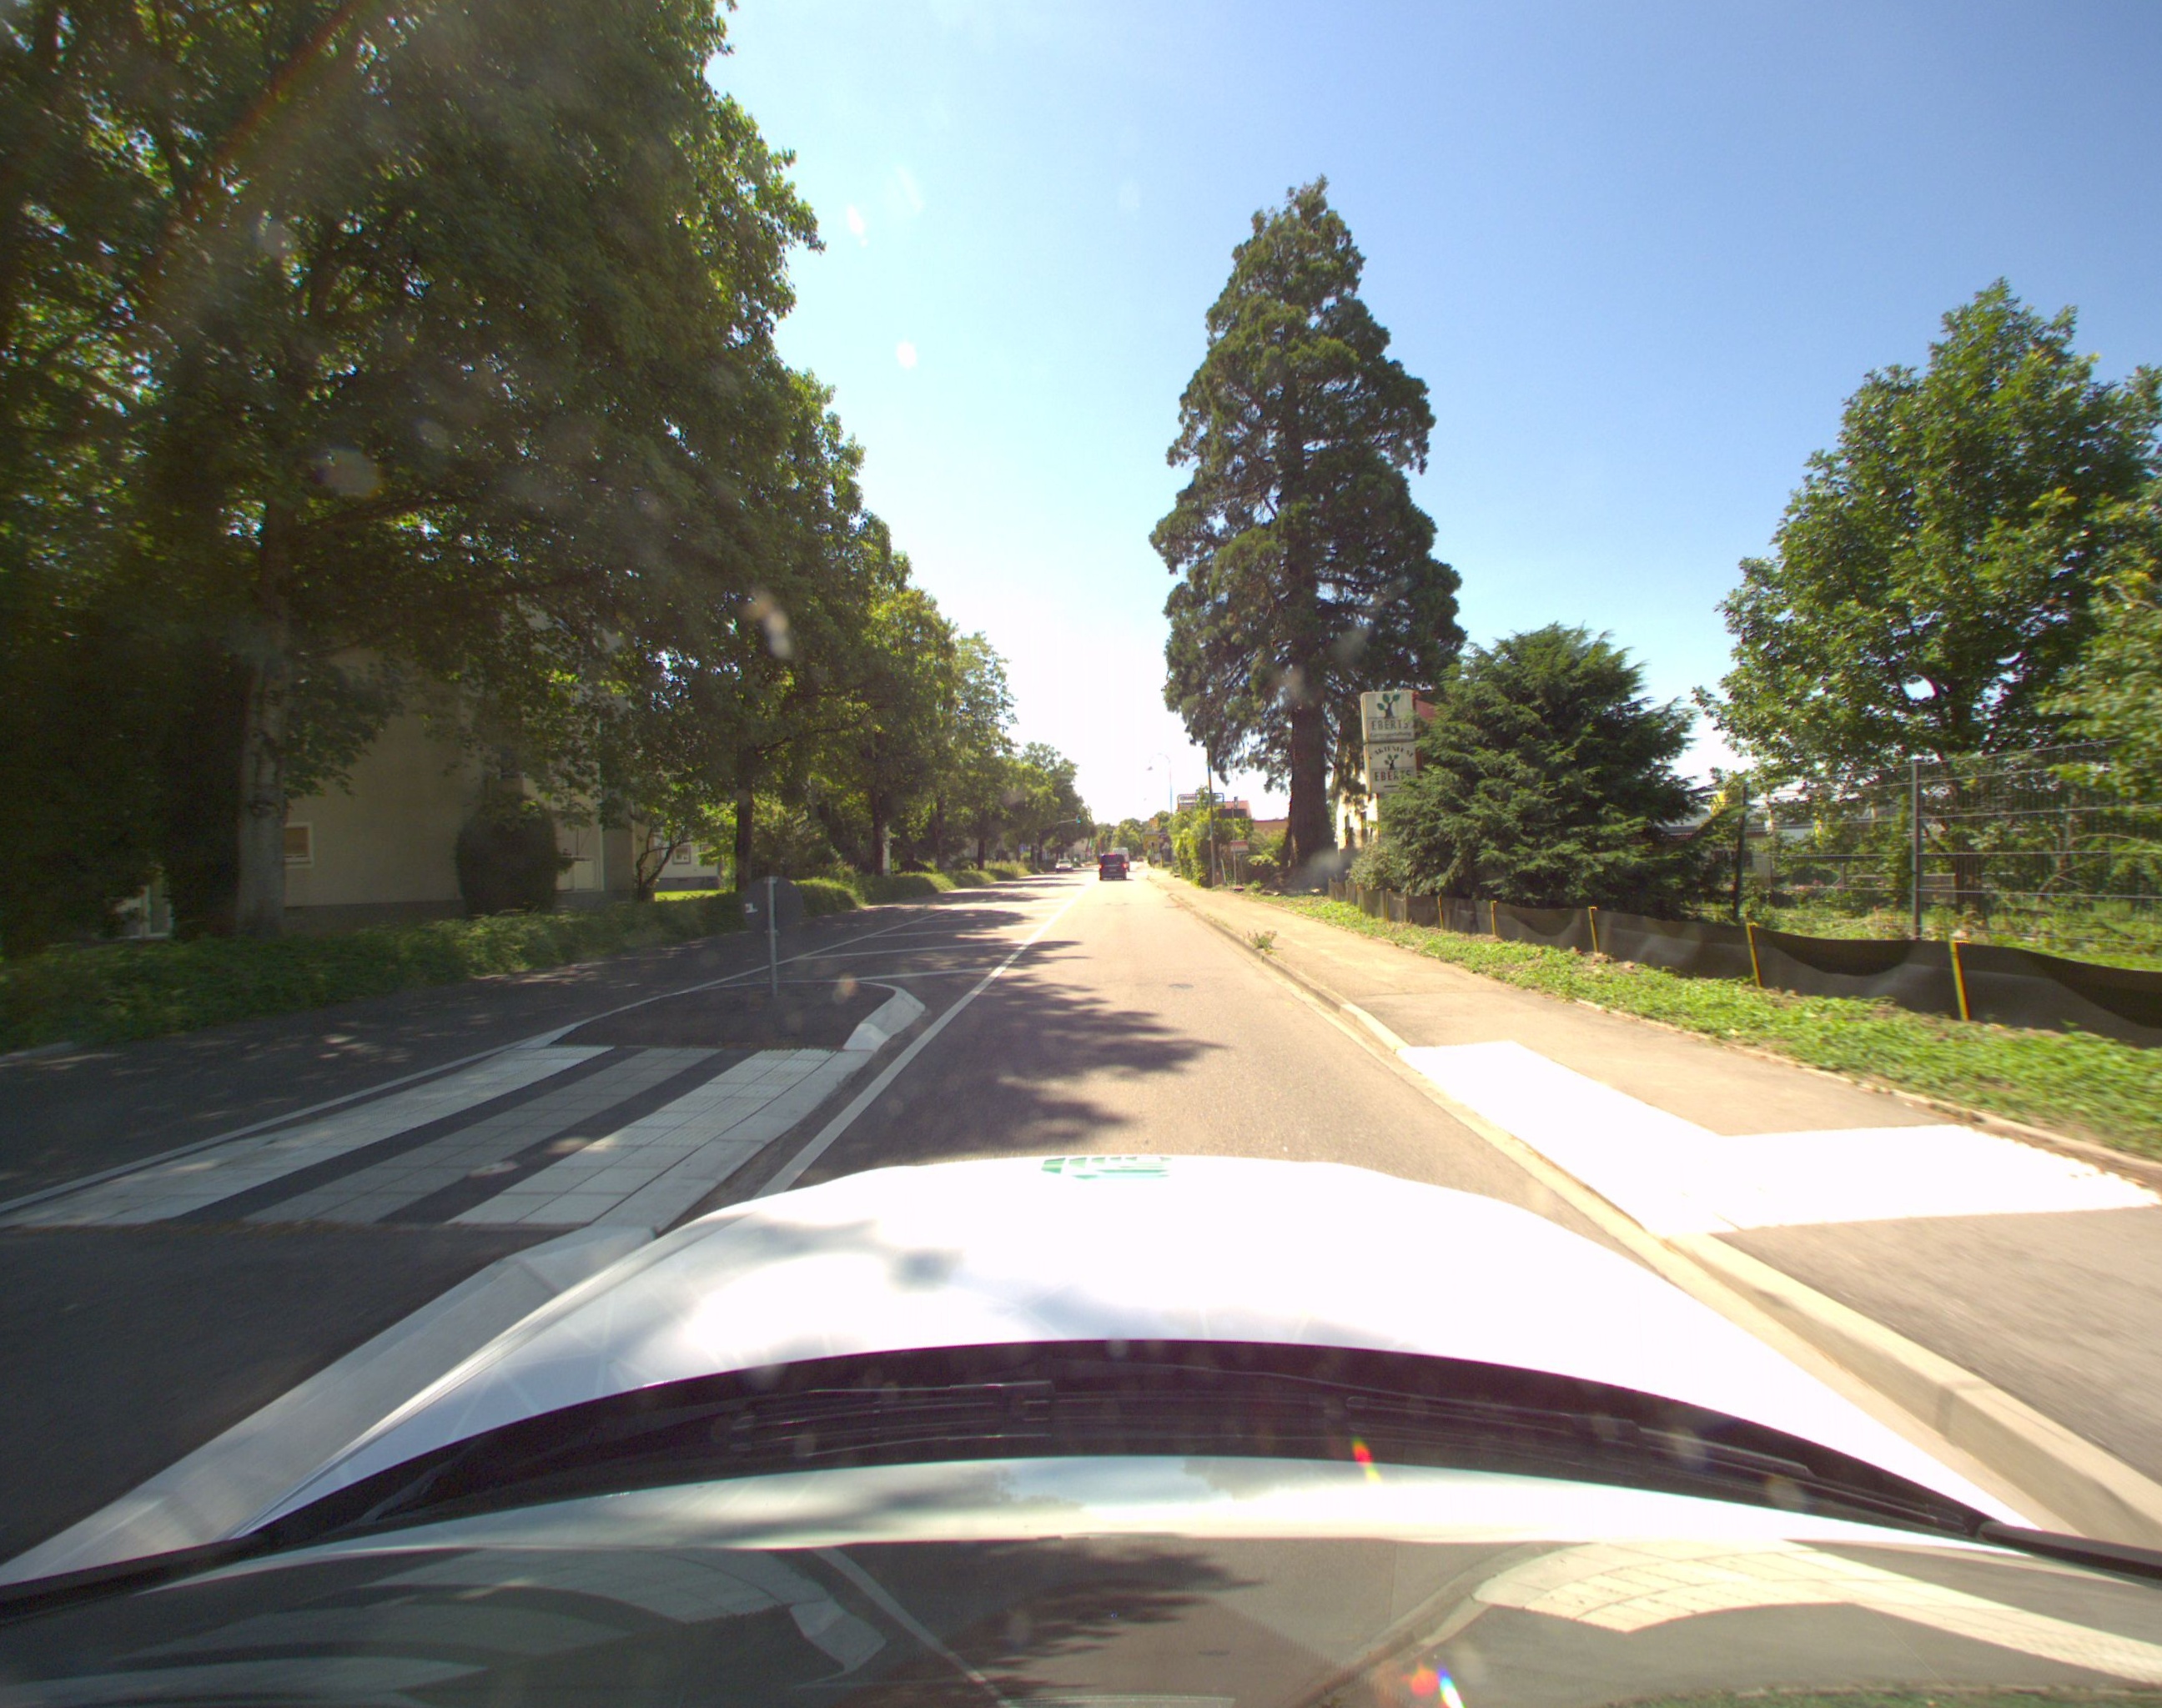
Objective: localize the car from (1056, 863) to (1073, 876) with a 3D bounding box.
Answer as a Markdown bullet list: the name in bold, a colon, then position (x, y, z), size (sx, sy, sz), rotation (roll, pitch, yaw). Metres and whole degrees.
- **car**: position (-1.879, 1.736, 92.644), size (1.715, 1.427, 4.148), rotation (-1, -1, 1)

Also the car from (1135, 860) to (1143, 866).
- **car**: position (16.180, 2.384, 225.612), size (1.852, 1.643, 3.998), rotation (-1, 0, -1)

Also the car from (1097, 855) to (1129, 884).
- **car**: position (2.172, 1.045, 56.341), size (1.987, 1.893, 4.000), rotation (-1, 0, 0)

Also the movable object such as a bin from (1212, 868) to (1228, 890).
- **movable object such as a bin**: position (6.047, 1.094, 35.456), size (0.466, 0.928, 0.527), rotation (-1, -2, 36)

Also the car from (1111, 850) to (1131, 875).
- **car**: position (4.487, 0.873, 90.967), size (2.111, 2.678, 5.668), rotation (-1, 0, 4)
